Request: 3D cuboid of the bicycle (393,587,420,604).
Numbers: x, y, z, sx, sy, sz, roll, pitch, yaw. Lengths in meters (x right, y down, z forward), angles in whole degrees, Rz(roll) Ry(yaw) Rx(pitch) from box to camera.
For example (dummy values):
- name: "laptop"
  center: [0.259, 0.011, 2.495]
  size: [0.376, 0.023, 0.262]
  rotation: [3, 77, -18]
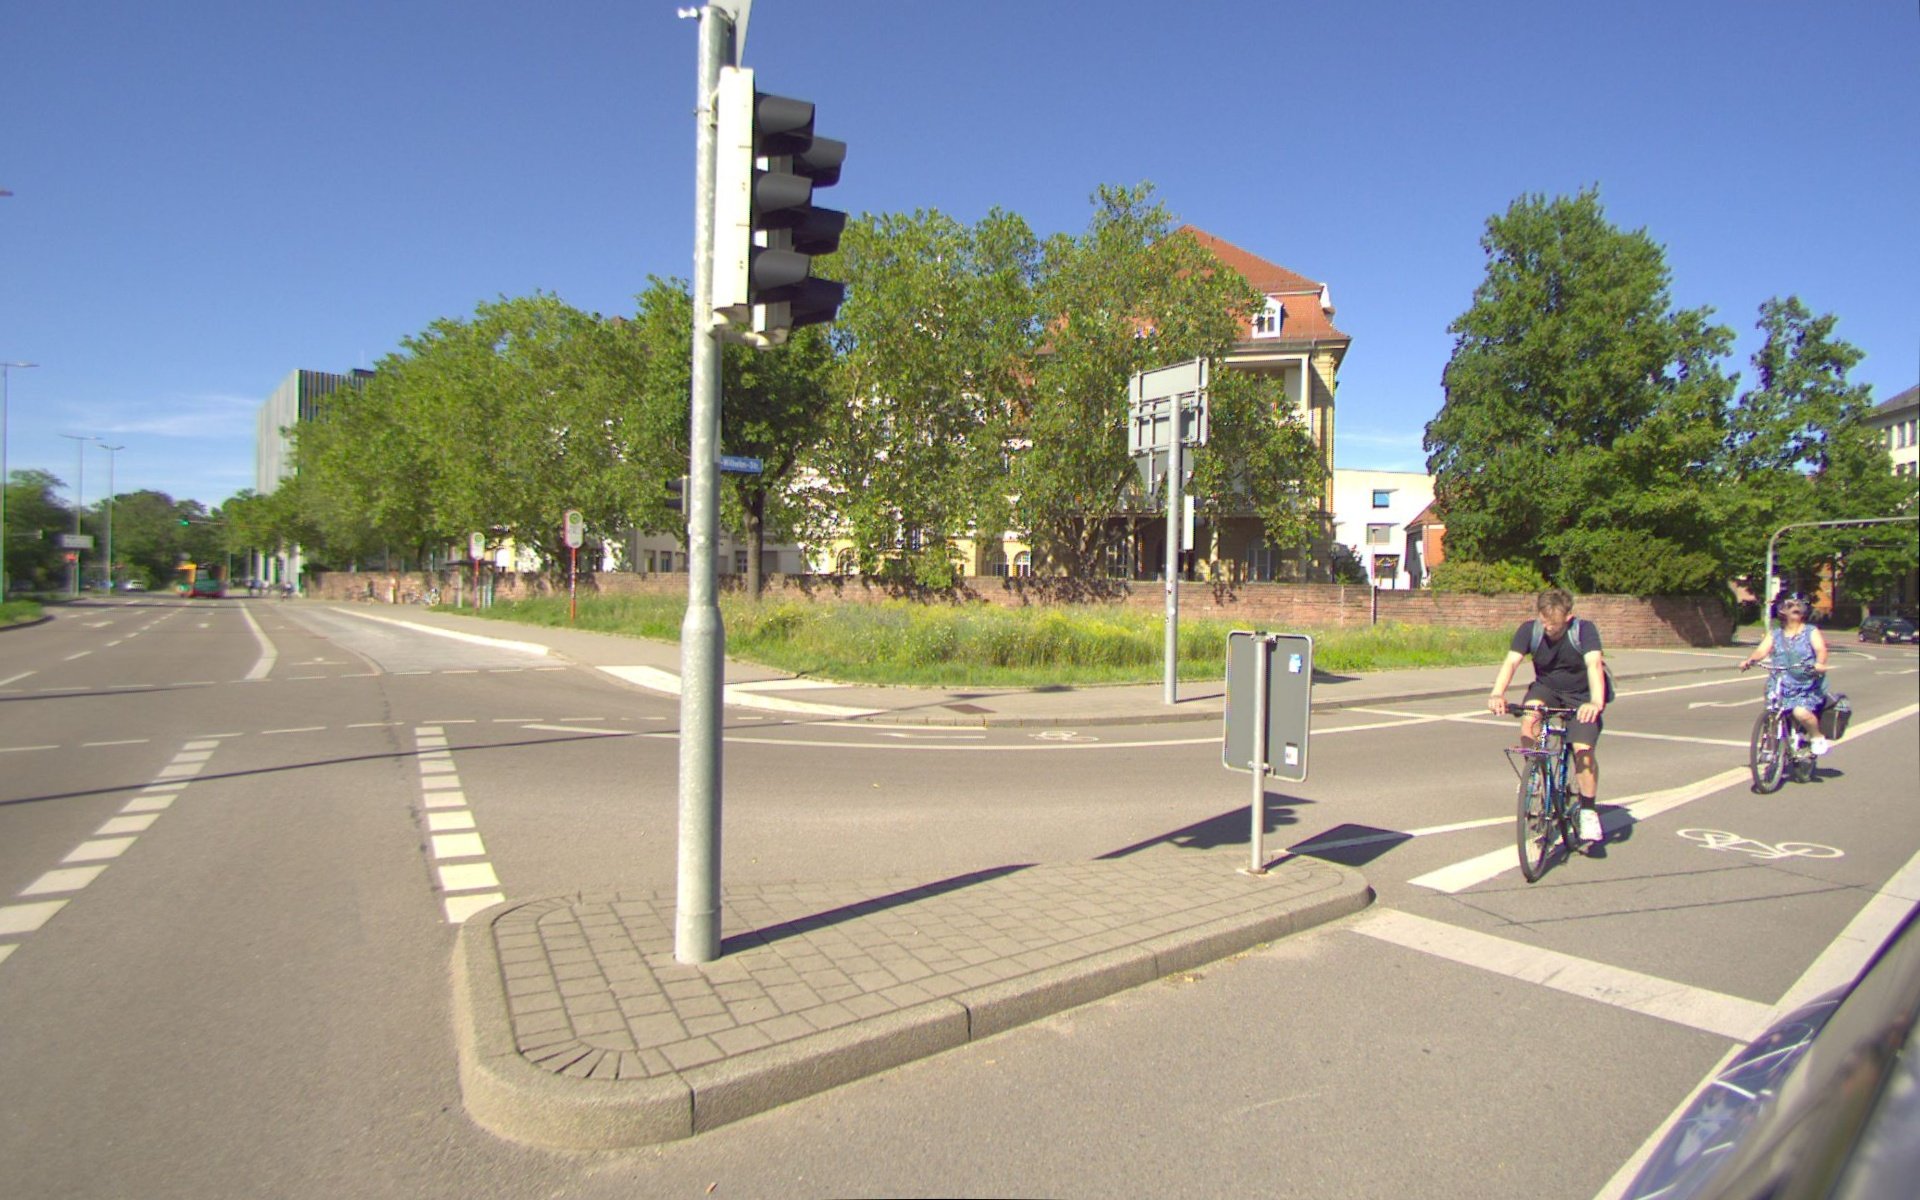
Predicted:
- name: "bicycle"
  center: [-37.698, -0.292, 68.894]
  size: [2.072, 1.090, 0.785]
  rotation: [-1, -2, 36]

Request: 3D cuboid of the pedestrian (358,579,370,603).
- name: "pedestrian"
  center: [-40.504, -0.593, 68.786]
  size: [0.642, 1.632, 0.557]
  rotation: [1, -2, -41]

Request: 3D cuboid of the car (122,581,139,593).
- name: "car"
  center: [-115.234, -1.862, 140.634]
  size: [1.662, 1.612, 3.598]
  rotation: [-1, 1, -36]

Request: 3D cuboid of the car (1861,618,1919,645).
- name: "car"
  center: [55.612, 1.839, 59.752]
  size: [1.974, 1.492, 4.271]
  rotation: [-1, -1, 18]

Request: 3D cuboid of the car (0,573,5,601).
- name: "car"
  center: [-67.738, -0.883, 69.957]
  size: [1.903, 1.977, 4.530]
  rotation: [-1, 1, -36]

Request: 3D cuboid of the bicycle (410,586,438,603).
- name: "bicycle"
  center: [-35.785, -0.336, 67.566]
  size: [2.072, 1.090, 0.785]
  rotation: [-1, -2, 36]

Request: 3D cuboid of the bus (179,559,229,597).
- name: "bus"
  center: [-71.846, -2.039, 96.137]
  size: [2.939, 3.315, 6.237]
  rotation: [1, -2, -44]

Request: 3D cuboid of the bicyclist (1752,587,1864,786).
- name: "bicyclist"
  center: [7.606, 0.732, 9.078]
  size: [0.763, 1.684, 0.642]
  rotation: [0, 0, -39]

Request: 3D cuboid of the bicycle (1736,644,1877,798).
- name: "bicycle"
  center: [7.583, 1.012, 9.032]
  size: [1.933, 1.180, 0.642]
  rotation: [1, -1, -40]

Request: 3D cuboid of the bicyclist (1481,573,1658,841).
- name: "bicyclist"
  center: [3.671, 0.593, 6.089]
  size: [0.936, 1.463, 0.642]
  rotation: [2, -2, -40]

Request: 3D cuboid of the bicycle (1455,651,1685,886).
- name: "bicycle"
  center: [3.750, 0.926, 6.161]
  size: [1.837, 1.180, 0.642]
  rotation: [1, -2, -40]

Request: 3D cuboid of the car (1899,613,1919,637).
- name: "car"
  center: [76.108, 1.975, 78.900]
  size: [3.732, 1.839, 1.998]
  rotation: [1, 0, 4]
